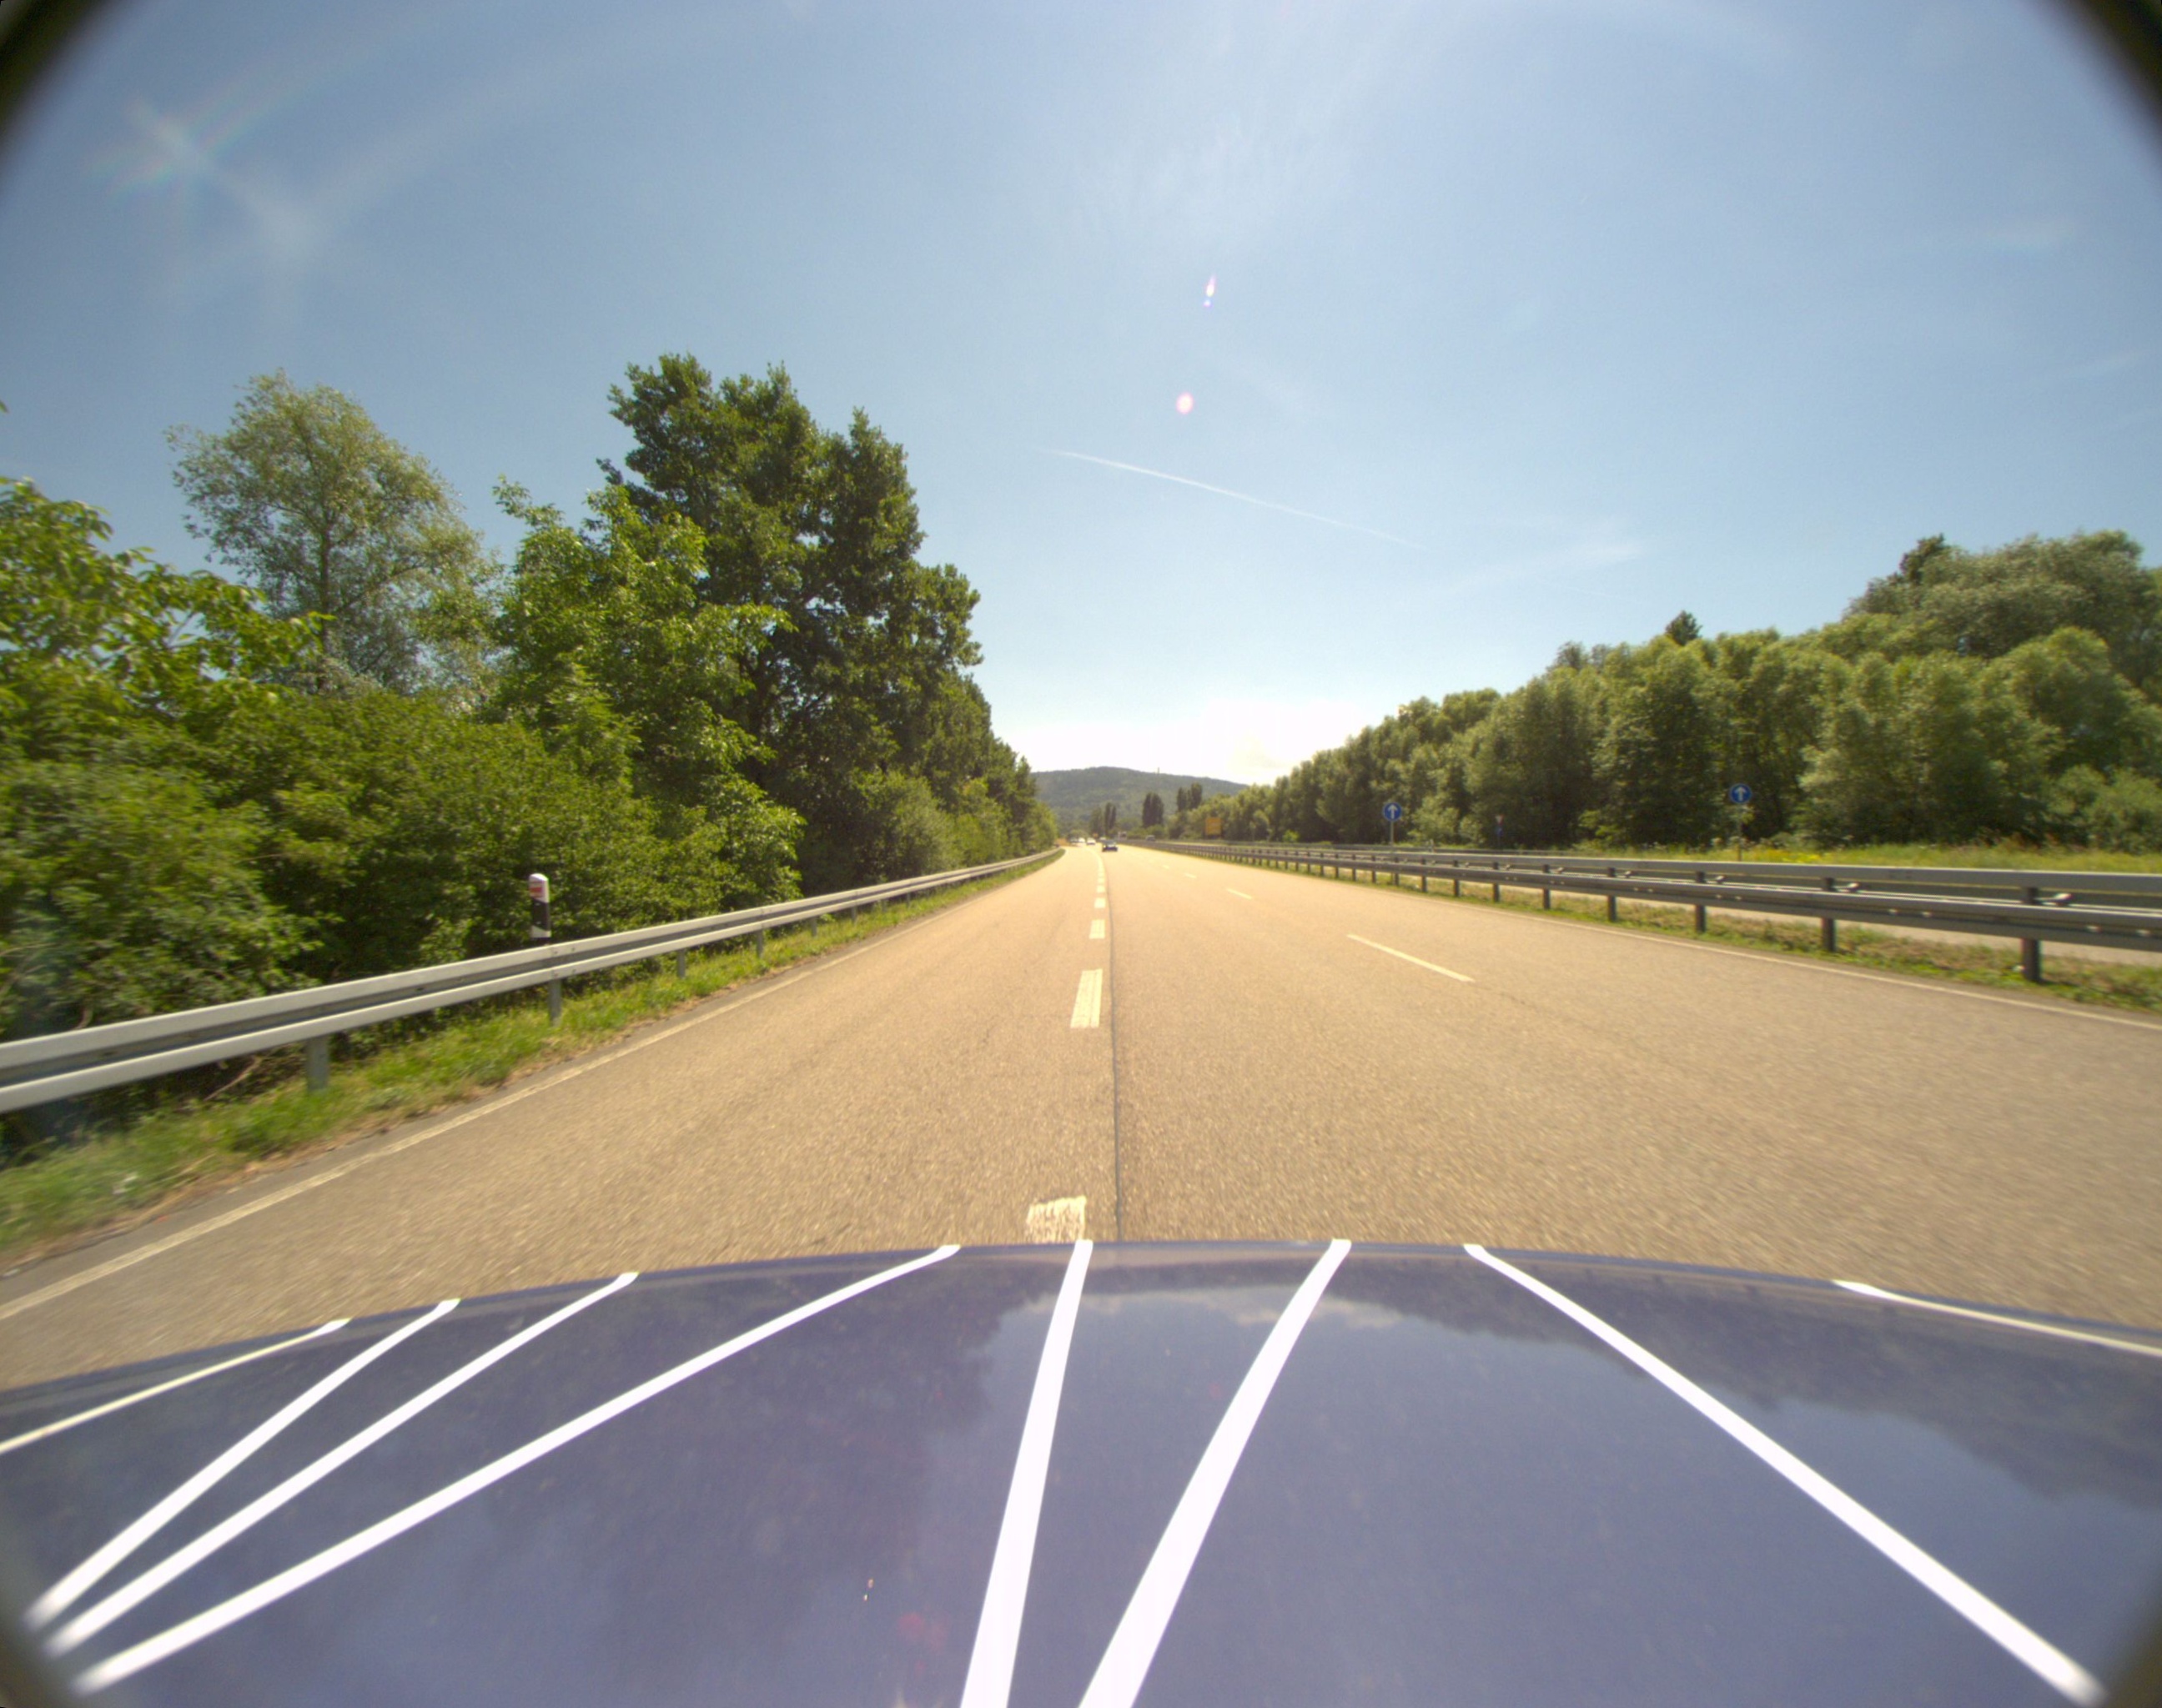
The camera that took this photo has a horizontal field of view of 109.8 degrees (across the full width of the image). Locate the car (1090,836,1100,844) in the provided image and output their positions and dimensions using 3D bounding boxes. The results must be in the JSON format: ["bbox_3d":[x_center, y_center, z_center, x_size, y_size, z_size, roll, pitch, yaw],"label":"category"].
[{"bbox_3d":[2.948,-2.859,158.712,1.998,1.630,4.000,-1,1,2],"label":"car"}]

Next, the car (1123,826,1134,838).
[{"bbox_3d":[11.712,-5.458,188.171,2.108,2.668,6.625,-2,2,0],"label":"car"}]

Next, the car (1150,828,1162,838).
[{"bbox_3d":[14.144,-4.022,143.022,1.867,1.820,4.658,-2,2,1],"label":"car"}]

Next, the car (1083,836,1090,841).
[{"bbox_3d":[1.641,-4.639,224.539,1.658,1.536,3.691,-2,2,4],"label":"car"}]

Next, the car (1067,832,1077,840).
[{"bbox_3d":[-1.741,-3.523,148.176,1.658,1.536,3.691,-2,2,4],"label":"car"}]

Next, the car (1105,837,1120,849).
[{"bbox_3d":[4.174,-1.461,99.958,1.908,1.368,3.890,-2,2,2],"label":"car"}]
